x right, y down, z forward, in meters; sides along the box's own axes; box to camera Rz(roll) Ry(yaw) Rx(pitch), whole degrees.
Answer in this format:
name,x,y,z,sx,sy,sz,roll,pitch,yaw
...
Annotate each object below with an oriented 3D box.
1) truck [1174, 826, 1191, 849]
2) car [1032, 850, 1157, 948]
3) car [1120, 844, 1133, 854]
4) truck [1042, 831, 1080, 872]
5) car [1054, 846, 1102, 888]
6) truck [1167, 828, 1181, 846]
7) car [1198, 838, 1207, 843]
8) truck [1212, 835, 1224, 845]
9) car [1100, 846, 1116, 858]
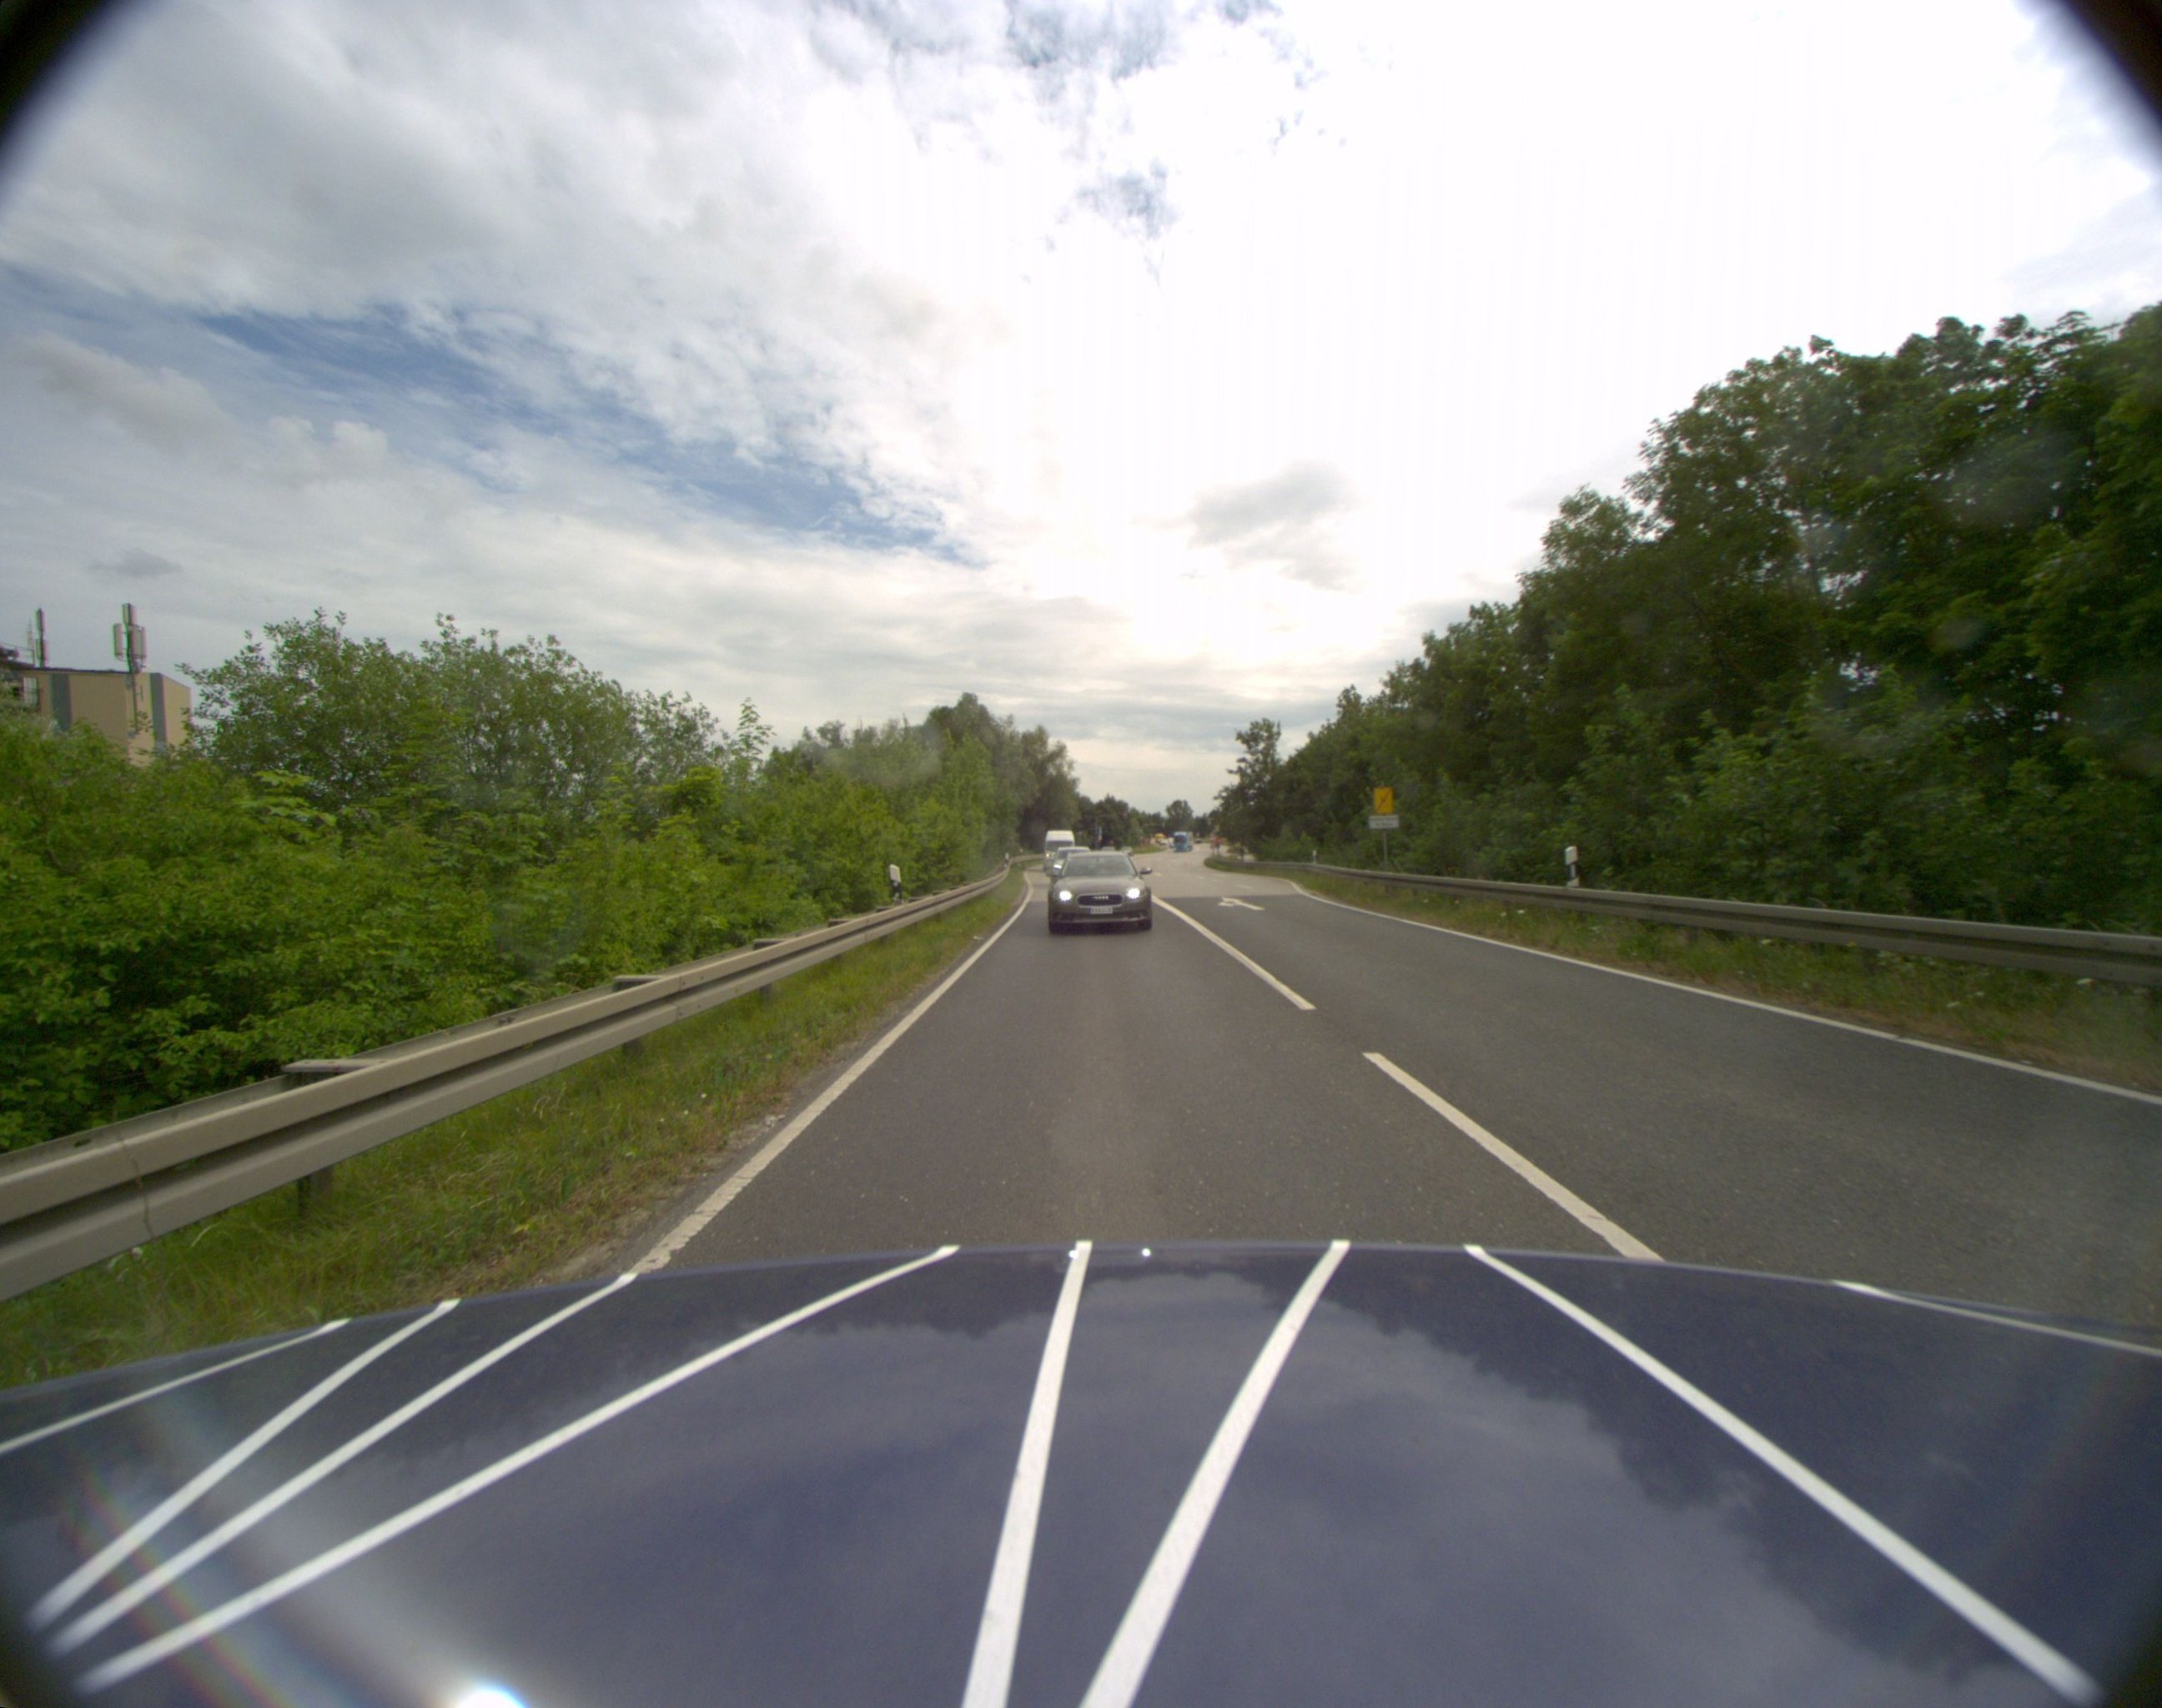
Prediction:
name,x,y,z,sx,sy,sz,roll,pitch,yaw
truck,20.629,-3.345,153.707,3.024,4.326,9.575,1,2,9
car,0.429,0.718,14.581,1.964,1.447,4.797,-2,1,5
car,6.888,-0.764,115.069,1.743,1.317,4.001,3,1,5
truck,-1.332,-0.240,51.178,2.379,2.579,5.996,1,2,-1
car,-0.137,0.482,31.527,1.826,1.489,4.223,2,1,0
truck,24.113,-4.390,196.796,3.024,4.326,9.575,1,2,9
car,36.956,-4.159,231.761,1.921,1.562,3.998,1,2,-2
truck,35.904,-3.577,199.160,2.321,2.586,6.023,1,1,3
car,3.394,-0.280,94.055,1.743,1.317,4.001,3,1,5
